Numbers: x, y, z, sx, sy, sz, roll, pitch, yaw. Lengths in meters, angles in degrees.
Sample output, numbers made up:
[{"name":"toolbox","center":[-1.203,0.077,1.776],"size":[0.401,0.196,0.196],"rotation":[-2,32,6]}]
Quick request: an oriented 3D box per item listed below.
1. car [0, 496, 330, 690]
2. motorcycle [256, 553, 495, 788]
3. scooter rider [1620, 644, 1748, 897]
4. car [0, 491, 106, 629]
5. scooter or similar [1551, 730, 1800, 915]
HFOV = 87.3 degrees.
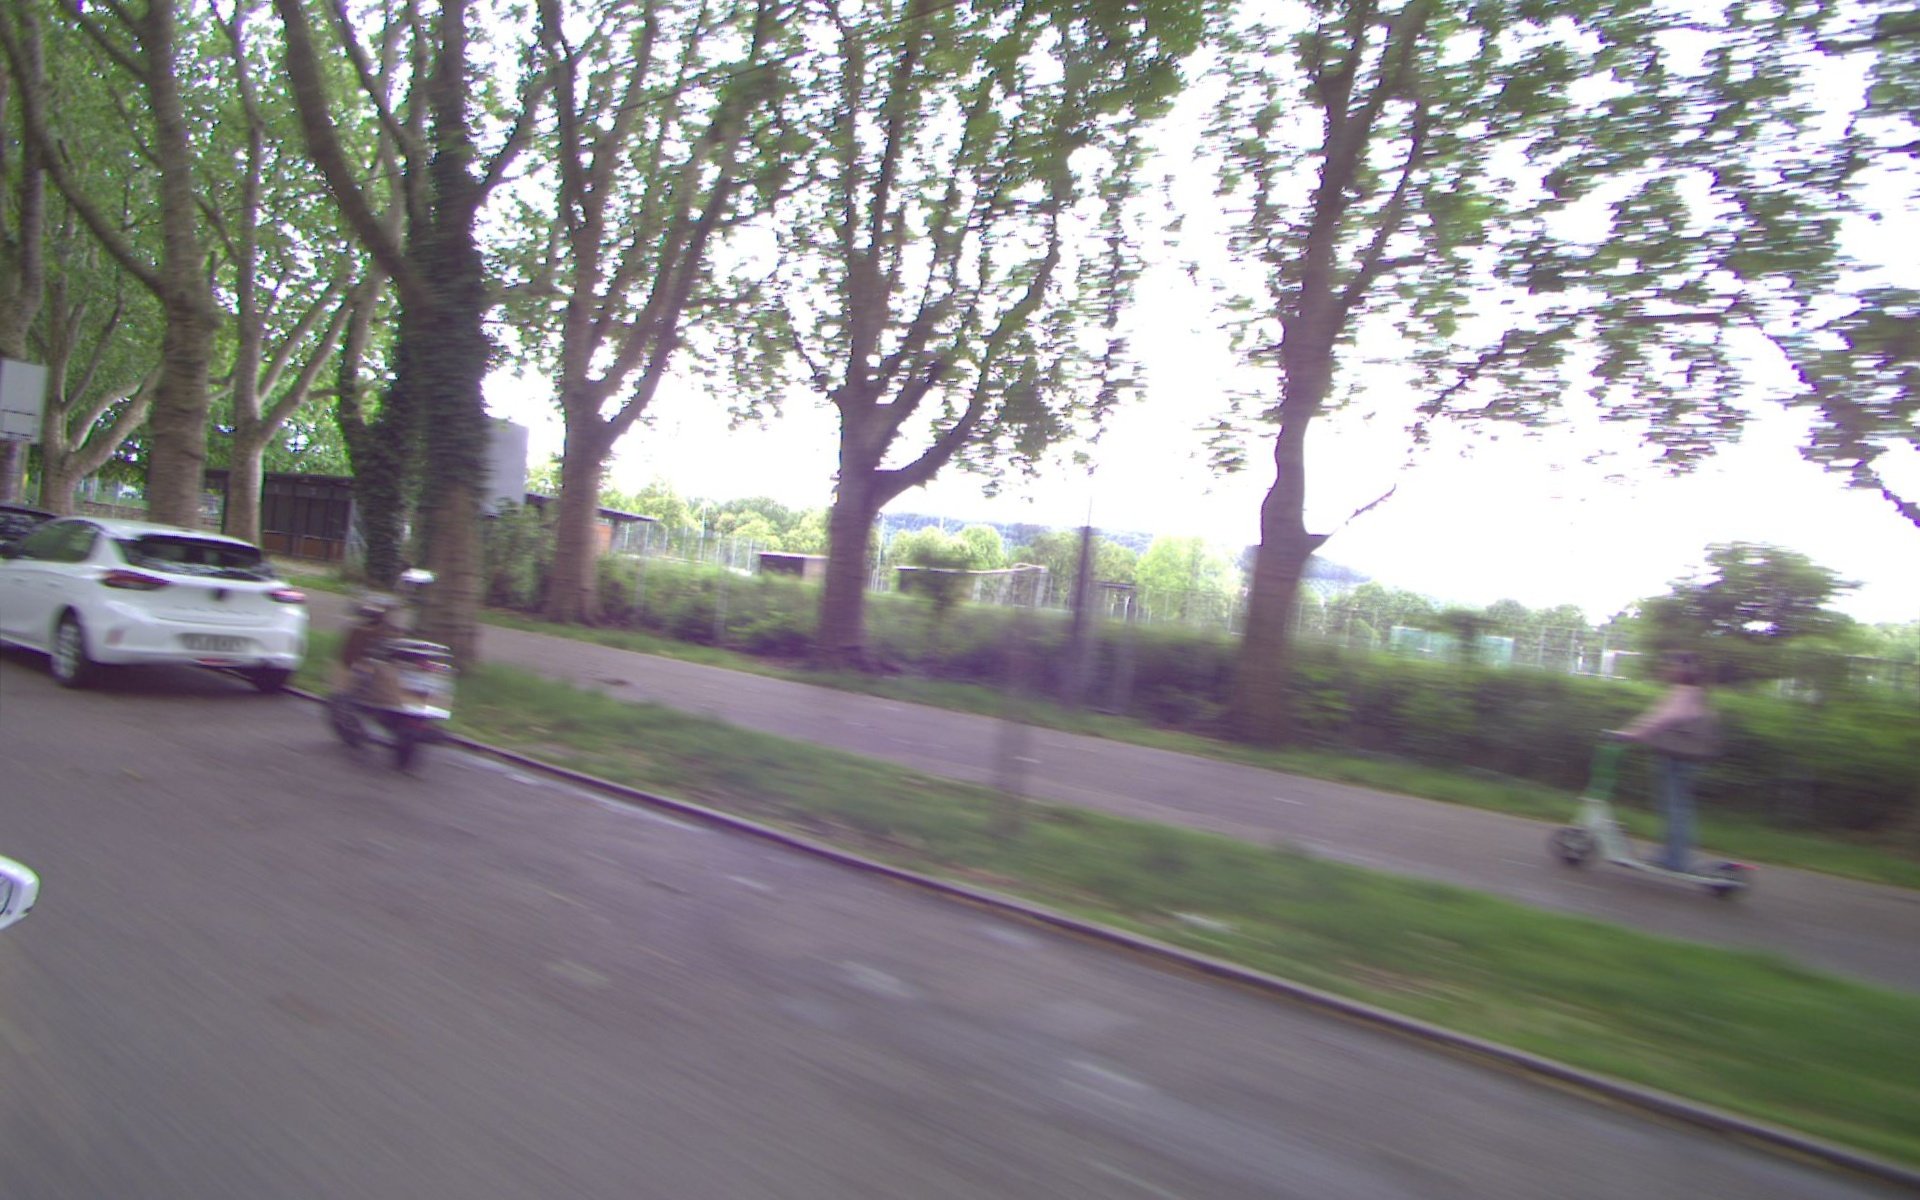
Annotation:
[{"name":"car","center":[-8.214,-0.144,9.810],"size":[4.053,1.456,1.738],"rotation":[7,0,30]},{"name":"motorcycle","center":[-4.153,0.435,7.078],"size":[1.963,1.348,0.711],"rotation":[6,0,40]},{"name":"scooter rider","center":[5.642,1.285,7.881],"size":[0.577,1.824,0.676],"rotation":[7,3,31]},{"name":"car","center":[-12.611,-0.678,12.573],"size":[4.013,1.486,1.734],"rotation":[6,-3,33]},{"name":"scooter or similar","center":[5.559,1.696,7.931],"size":[1.442,1.052,0.680],"rotation":[7,3,32]}]
